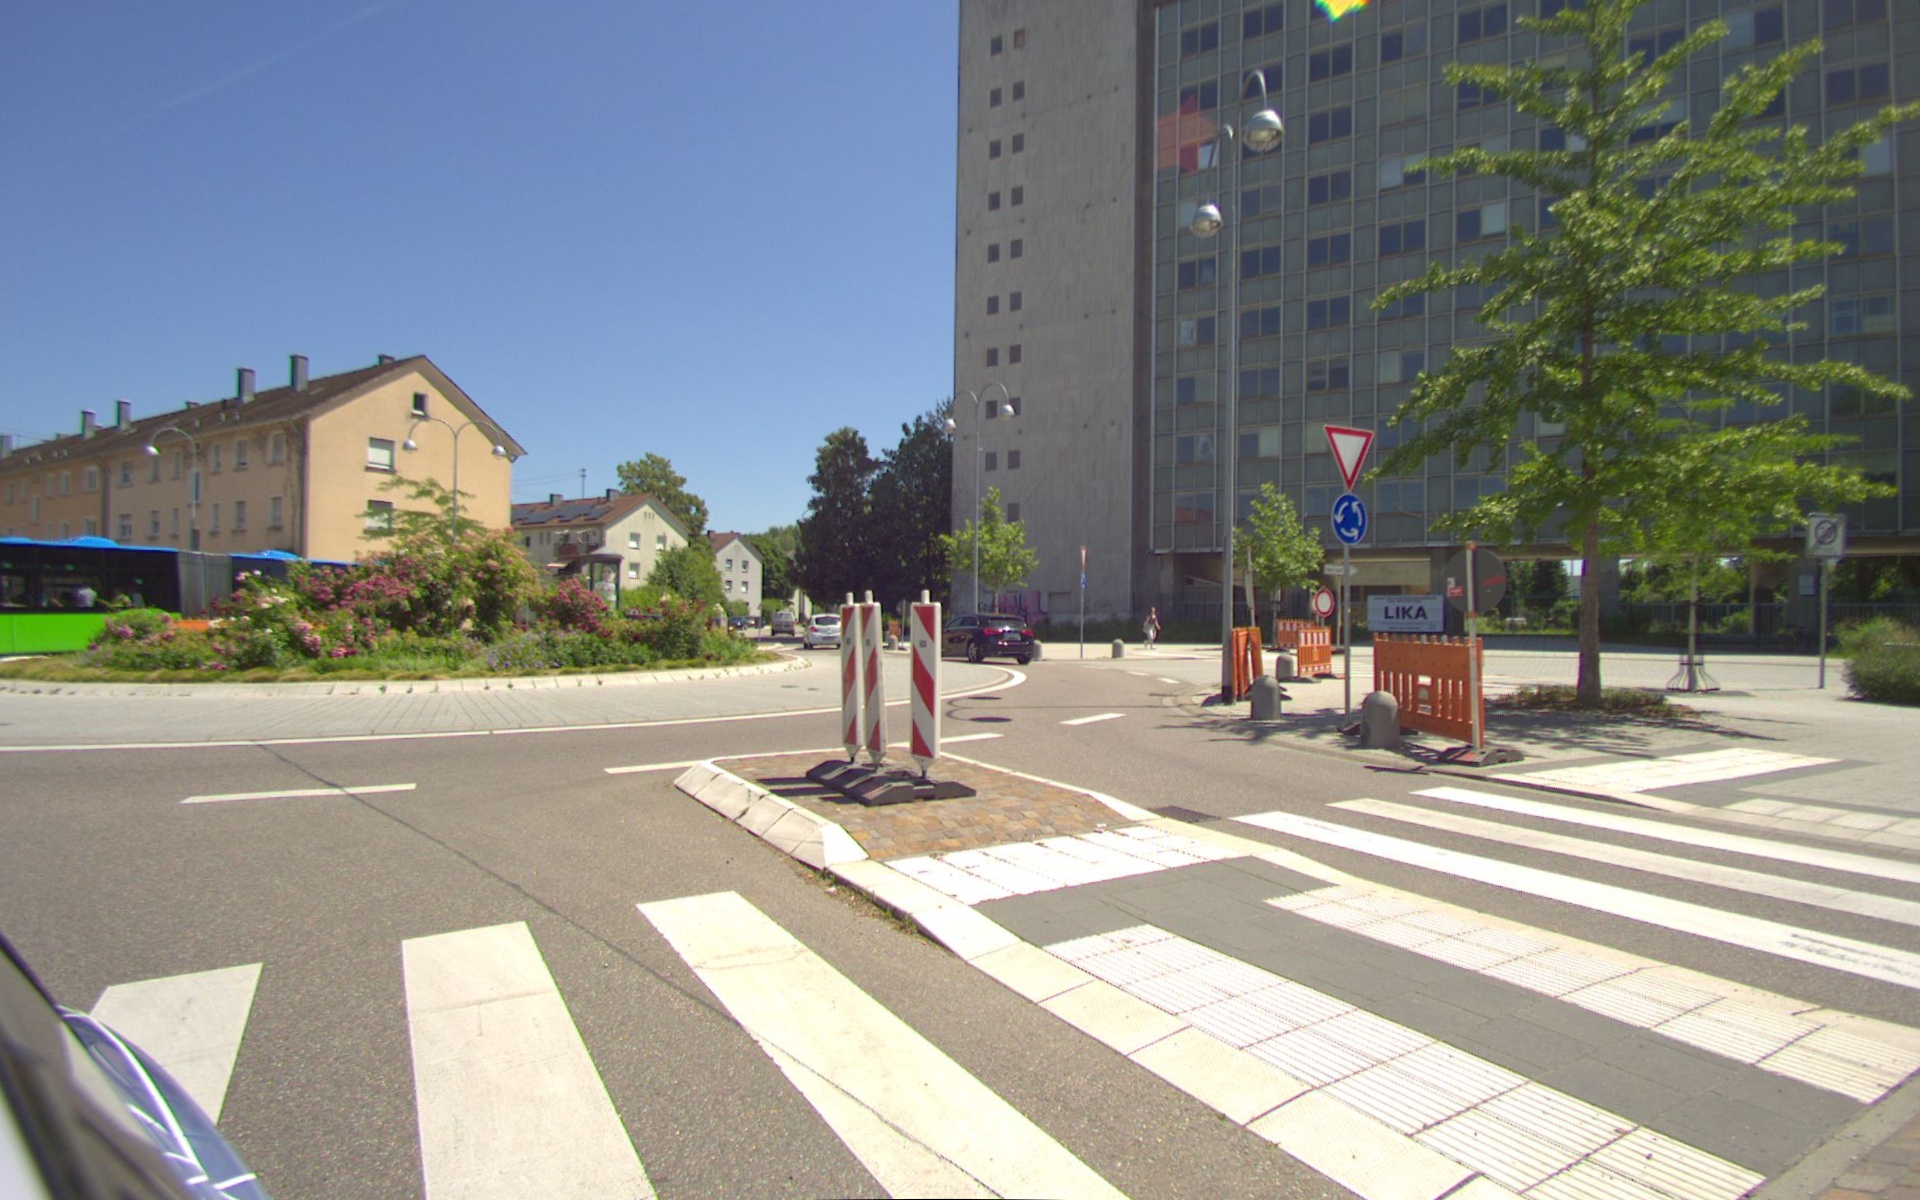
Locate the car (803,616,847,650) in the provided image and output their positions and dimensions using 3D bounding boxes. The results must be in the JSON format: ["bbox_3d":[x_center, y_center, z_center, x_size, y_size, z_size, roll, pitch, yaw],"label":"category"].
[{"bbox_3d":[-5.748,1.388,43.114,1.757,1.366,4.060,1,-2,-7],"label":"car"}]

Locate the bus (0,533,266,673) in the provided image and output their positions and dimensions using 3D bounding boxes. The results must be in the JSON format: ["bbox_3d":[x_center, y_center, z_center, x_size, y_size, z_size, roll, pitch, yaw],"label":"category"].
[{"bbox_3d":[-22.560,0.097,22.944,2.885,3.104,12.504,-1,-1,14],"label":"bus"}]

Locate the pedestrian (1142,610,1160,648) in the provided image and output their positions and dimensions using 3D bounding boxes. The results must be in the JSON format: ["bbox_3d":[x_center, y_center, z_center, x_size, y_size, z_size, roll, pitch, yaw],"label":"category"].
[{"bbox_3d":[7.336,1.123,38.849,0.561,1.440,0.426,0,-1,27],"label":"pedestrian"}]

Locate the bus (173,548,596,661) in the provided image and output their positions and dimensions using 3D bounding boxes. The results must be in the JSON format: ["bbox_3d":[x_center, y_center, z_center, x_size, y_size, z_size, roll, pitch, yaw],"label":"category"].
[{"bbox_3d":[-18.227,0.192,33.723,2.921,3.085,12.427,-2,-1,31],"label":"bus"}]

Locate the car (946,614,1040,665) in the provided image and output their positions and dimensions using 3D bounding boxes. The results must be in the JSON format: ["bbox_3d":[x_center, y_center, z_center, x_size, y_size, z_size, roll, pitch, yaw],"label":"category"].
[{"bbox_3d":[0.879,1.102,29.162,1.703,1.305,4.010,2,-2,-13],"label":"car"}]
